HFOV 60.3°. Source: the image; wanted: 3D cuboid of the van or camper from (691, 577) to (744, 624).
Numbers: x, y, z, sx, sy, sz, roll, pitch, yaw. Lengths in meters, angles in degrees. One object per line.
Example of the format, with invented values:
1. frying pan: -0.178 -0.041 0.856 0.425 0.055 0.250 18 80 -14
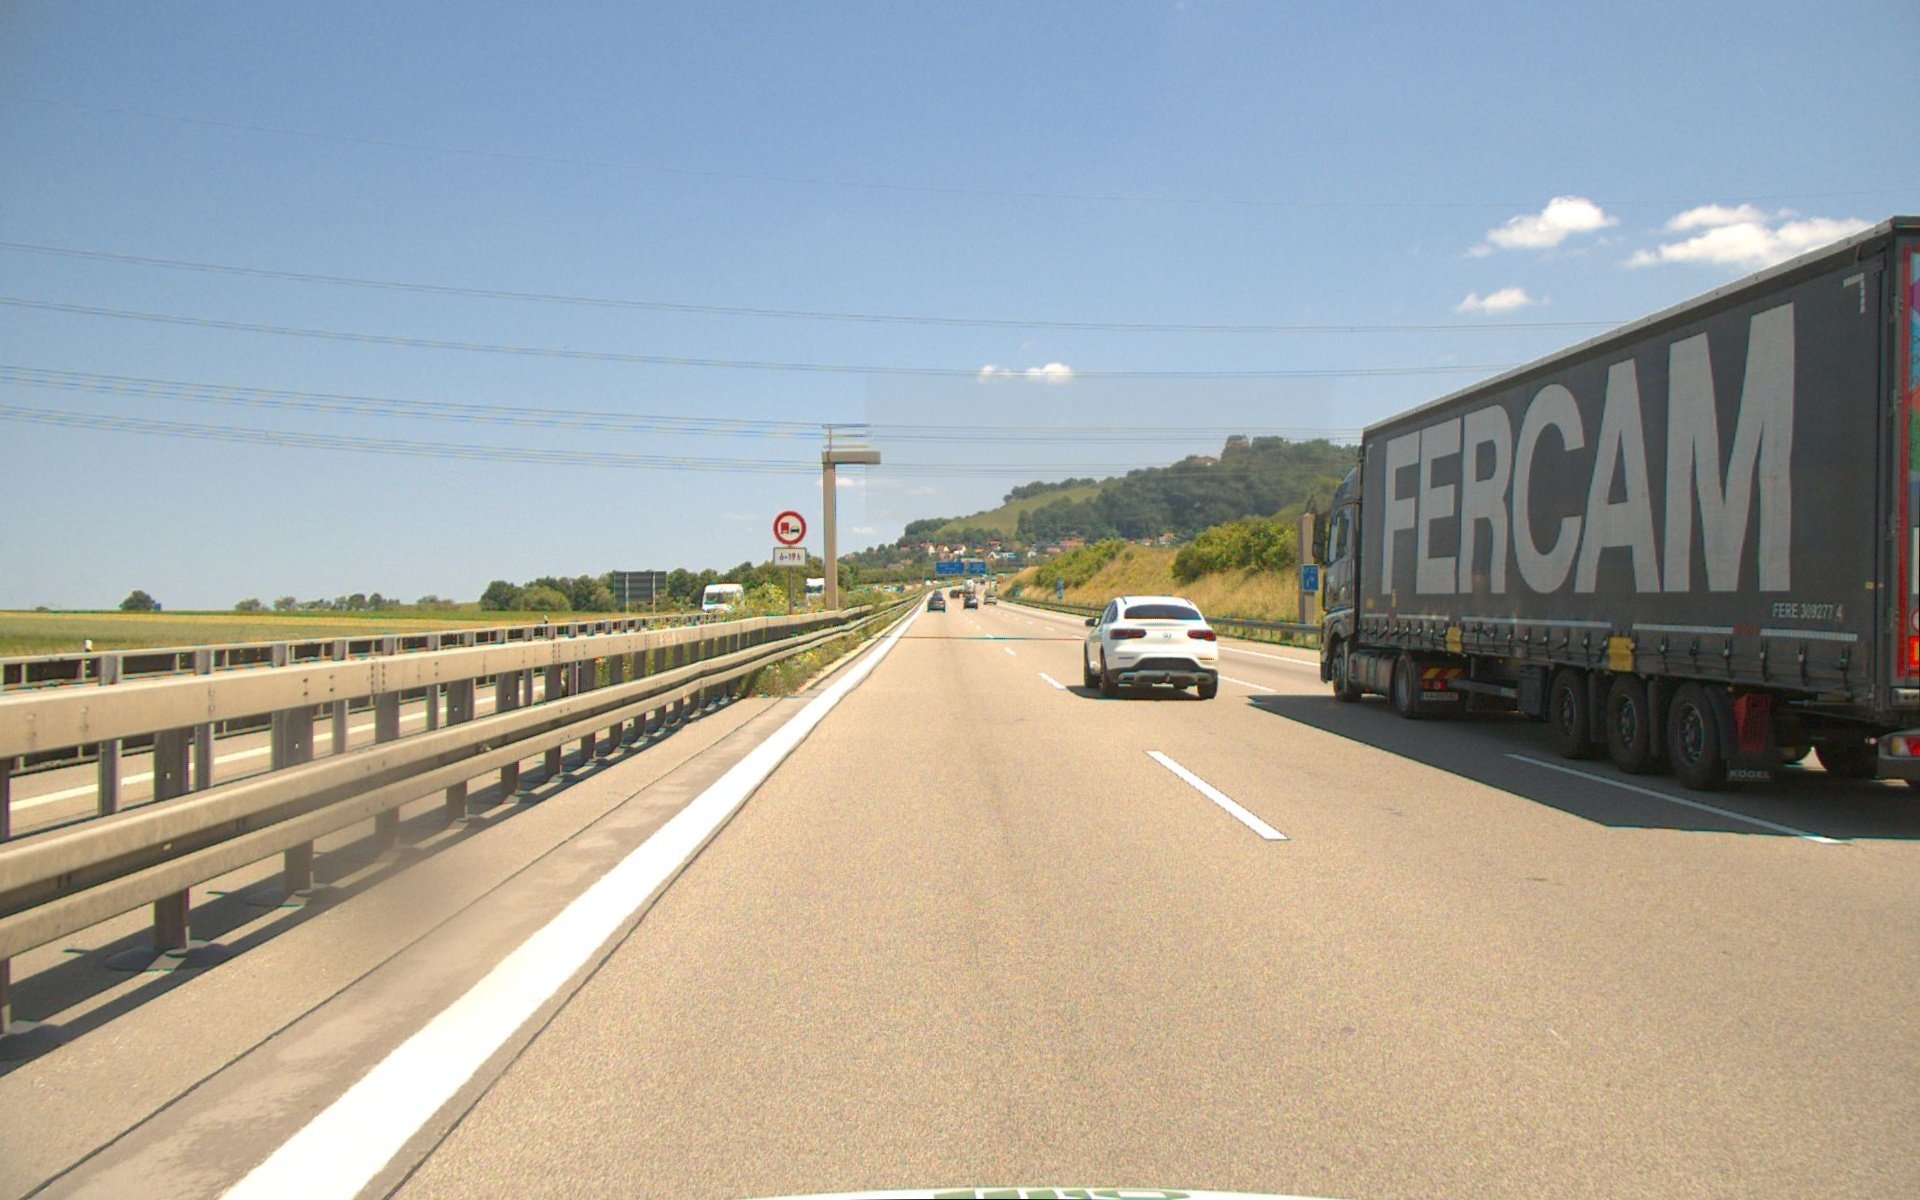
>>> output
1. van or camper: -13.886 0.053 95.104 2.182 2.552 6.595 1 0 -1

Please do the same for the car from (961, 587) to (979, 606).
1. car: 1.141 -0.370 184.753 1.953 2.049 3.999 1 0 0

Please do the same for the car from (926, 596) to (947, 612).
1. car: -2.163 0.392 154.499 1.953 1.413 3.999 1 0 0

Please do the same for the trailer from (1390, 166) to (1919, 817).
1. trailer: 7.302 -0.662 16.664 2.670 4.227 11.805 1 0 -1

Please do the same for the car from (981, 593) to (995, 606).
1. car: 4.139 -0.119 242.322 1.953 1.850 4.000 -1 0 0

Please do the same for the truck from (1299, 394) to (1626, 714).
1. truck: 7.182 -0.578 24.740 2.696 4.091 6.787 1 0 -1

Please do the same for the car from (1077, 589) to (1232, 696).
1. car: 3.157 0.657 27.877 1.875 1.608 5.229 1 0 -1
